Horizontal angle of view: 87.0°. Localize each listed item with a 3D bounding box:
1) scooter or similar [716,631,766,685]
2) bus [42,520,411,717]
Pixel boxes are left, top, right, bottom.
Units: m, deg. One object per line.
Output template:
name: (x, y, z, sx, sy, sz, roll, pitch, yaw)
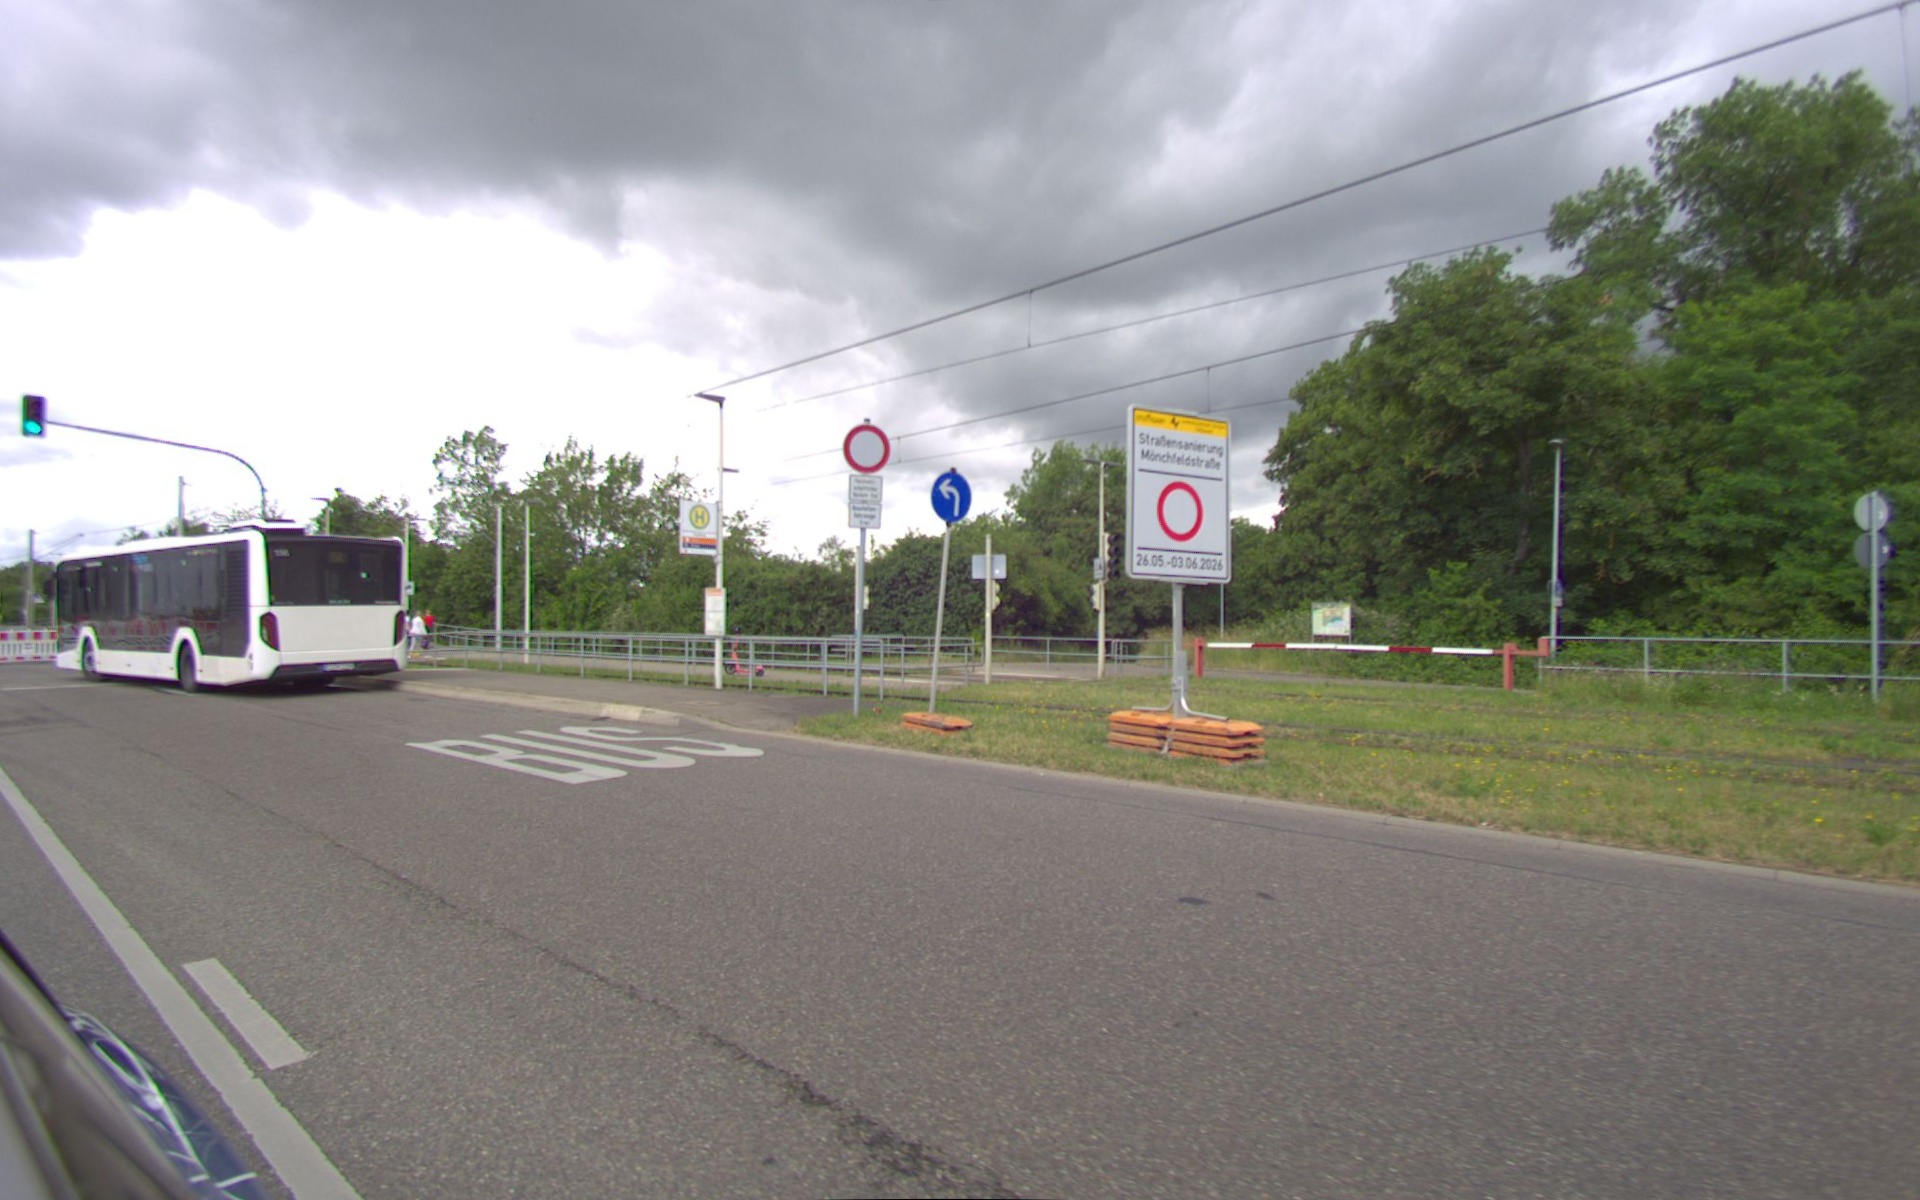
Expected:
scooter or similar: (-5.350, 1.407, 24.720, 1.264, 1.281, 0.407, -1, -2, 31)
bus: (-15.873, 0.379, 21.287, 12.175, 3.227, 2.642, -1, -1, 36)
